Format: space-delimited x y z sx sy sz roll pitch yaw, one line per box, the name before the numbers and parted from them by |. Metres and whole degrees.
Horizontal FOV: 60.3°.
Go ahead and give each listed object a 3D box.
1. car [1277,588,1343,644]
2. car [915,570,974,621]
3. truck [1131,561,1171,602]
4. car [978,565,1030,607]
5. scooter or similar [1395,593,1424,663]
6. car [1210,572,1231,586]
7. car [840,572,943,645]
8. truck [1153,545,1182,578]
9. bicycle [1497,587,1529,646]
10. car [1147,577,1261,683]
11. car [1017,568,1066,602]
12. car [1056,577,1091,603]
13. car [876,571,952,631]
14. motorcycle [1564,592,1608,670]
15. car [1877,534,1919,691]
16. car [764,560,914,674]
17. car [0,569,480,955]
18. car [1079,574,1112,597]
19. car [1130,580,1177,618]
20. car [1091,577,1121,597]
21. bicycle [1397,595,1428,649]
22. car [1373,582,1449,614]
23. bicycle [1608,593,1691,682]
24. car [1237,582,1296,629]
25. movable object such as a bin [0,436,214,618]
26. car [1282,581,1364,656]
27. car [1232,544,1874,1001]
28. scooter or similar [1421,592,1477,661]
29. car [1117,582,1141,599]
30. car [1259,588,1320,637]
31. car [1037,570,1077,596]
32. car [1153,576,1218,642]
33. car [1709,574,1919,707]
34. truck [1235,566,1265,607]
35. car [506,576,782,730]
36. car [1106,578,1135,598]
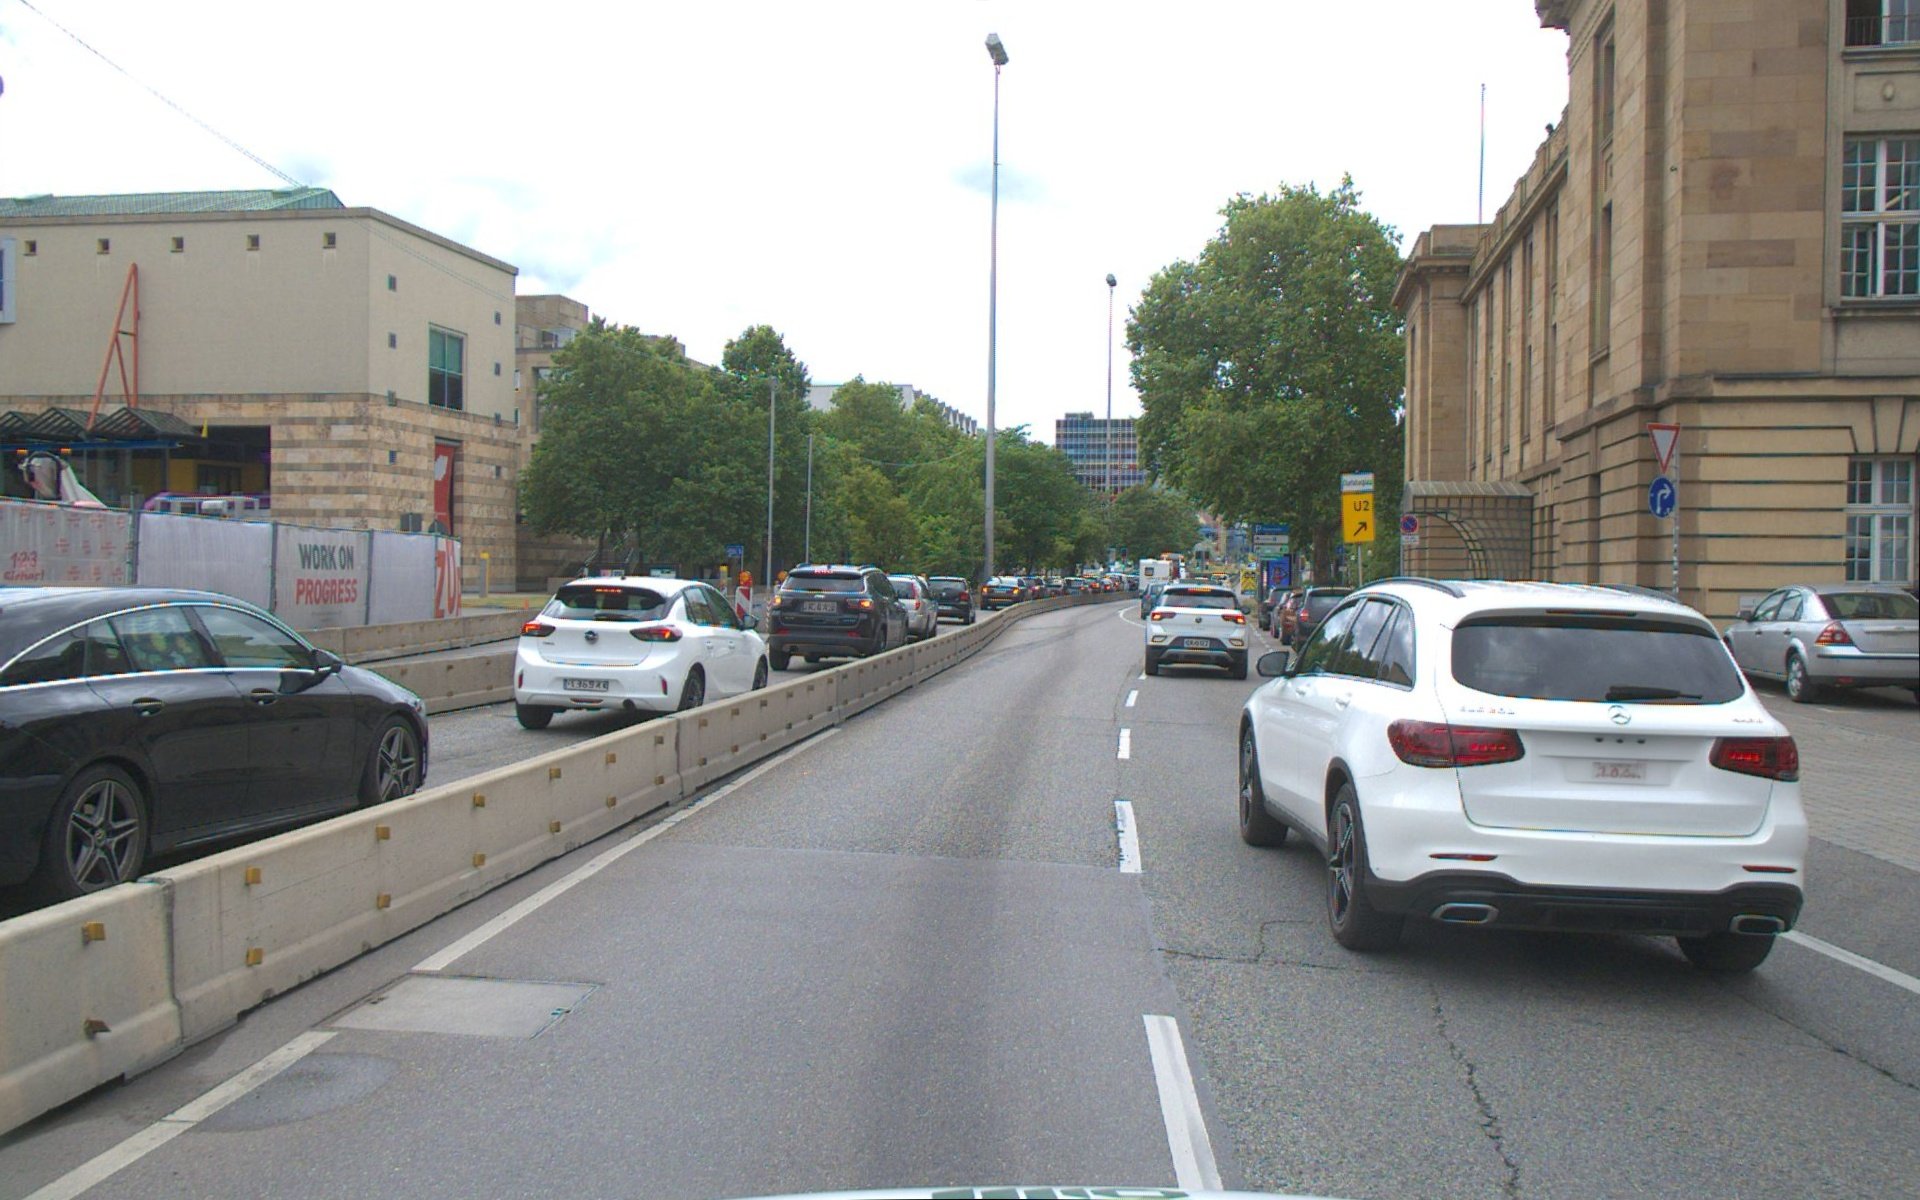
car | 9.576 0.410 45.451 1.581 1.480 3.862 0 0 9
car | -0.445 -0.162 52.530 1.625 1.479 4.199 2 1 2
truck | 14.757 -1.422 127.294 2.565 2.910 7.085 3 1 9
car | 1.958 -0.611 71.677 1.883 1.664 4.940 2 1 5
scooter or similar | 8.599 0.520 31.676 0.371 1.283 1.404 1 1 9
car | 26.741 -2.147 169.629 1.905 1.342 4.020 2 1 11
car | -1.499 0.158 38.009 1.839 1.507 4.707 2 1 3
truck | 21.203 -3.906 168.796 2.635 3.043 5.643 3 1 9
bicycle | 12.633 0.358 37.794 0.403 1.310 1.792 1 1 10
car | 4.214 0.464 29.041 1.758 1.636 3.758 2 1 6
car | 3.977 -0.734 79.854 1.777 1.525 4.773 1 1 10
car | 6.894 -0.610 100.225 1.626 1.461 3.964 2 0 10
car | -1.231 0.015 45.586 1.637 1.533 3.856 2 1 5
motorcycle | 10.630 0.507 28.119 0.445 1.264 1.924 0 0 13
car | 13.647 0.218 20.936 1.907 2.105 4.921 2 1 8
car | -1.875 0.242 26.865 1.738 1.649 4.049 2 0 5
car | -4.323 0.596 8.543 1.815 1.440 4.569 2 1 7
car | 8.894 -0.942 108.298 1.738 1.445 4.004 1 1 10
car | 7.750 -0.055 66.207 1.624 1.438 3.550 2 0 10
car | 10.273 -0.931 116.405 1.624 1.342 3.550 2 1 13
bicycle | 10.367 0.494 37.951 0.450 1.177 1.833 1 1 9
car | 24.221 -0.139 88.947 3.754 1.595 1.681 2 1 10
bicycle | 10.282 0.536 24.715 0.596 1.246 1.964 -2 0 7
car | 10.609 0.171 57.459 1.750 1.512 4.329 2 1 7
movable object such as a bin | -11.509 -0.925 21.934 1.489 2.223 3.295 1 1 5
car | 8.178 0.379 37.480 1.513 1.579 3.712 -2 0 8
car | 2.616 0.633 8.509 1.751 1.653 4.438 3 1 1
scooter or similar | 9.263 0.490 31.377 0.443 1.275 1.366 1 -1 -10
car | 14.236 -0.827 139.532 1.624 1.342 3.550 2 1 11
car | 10.104 0.355 50.962 1.672 1.451 4.000 0 0 9
car | 5.365 -0.938 90.721 1.642 1.390 4.547 1 1 10
car | 6.133 0.214 45.032 1.624 1.667 3.550 2 1 8
car | 11.424 0.450 21.613 1.740 1.494 4.579 2 1 8
truck | 31.168 -1.450 177.769 2.816 4.174 6.644 3 1 9
car | -3.050 0.462 16.797 1.690 1.318 3.938 2 0 5
car | 11.765 -0.884 121.108 1.624 1.342 3.550 2 1 13
